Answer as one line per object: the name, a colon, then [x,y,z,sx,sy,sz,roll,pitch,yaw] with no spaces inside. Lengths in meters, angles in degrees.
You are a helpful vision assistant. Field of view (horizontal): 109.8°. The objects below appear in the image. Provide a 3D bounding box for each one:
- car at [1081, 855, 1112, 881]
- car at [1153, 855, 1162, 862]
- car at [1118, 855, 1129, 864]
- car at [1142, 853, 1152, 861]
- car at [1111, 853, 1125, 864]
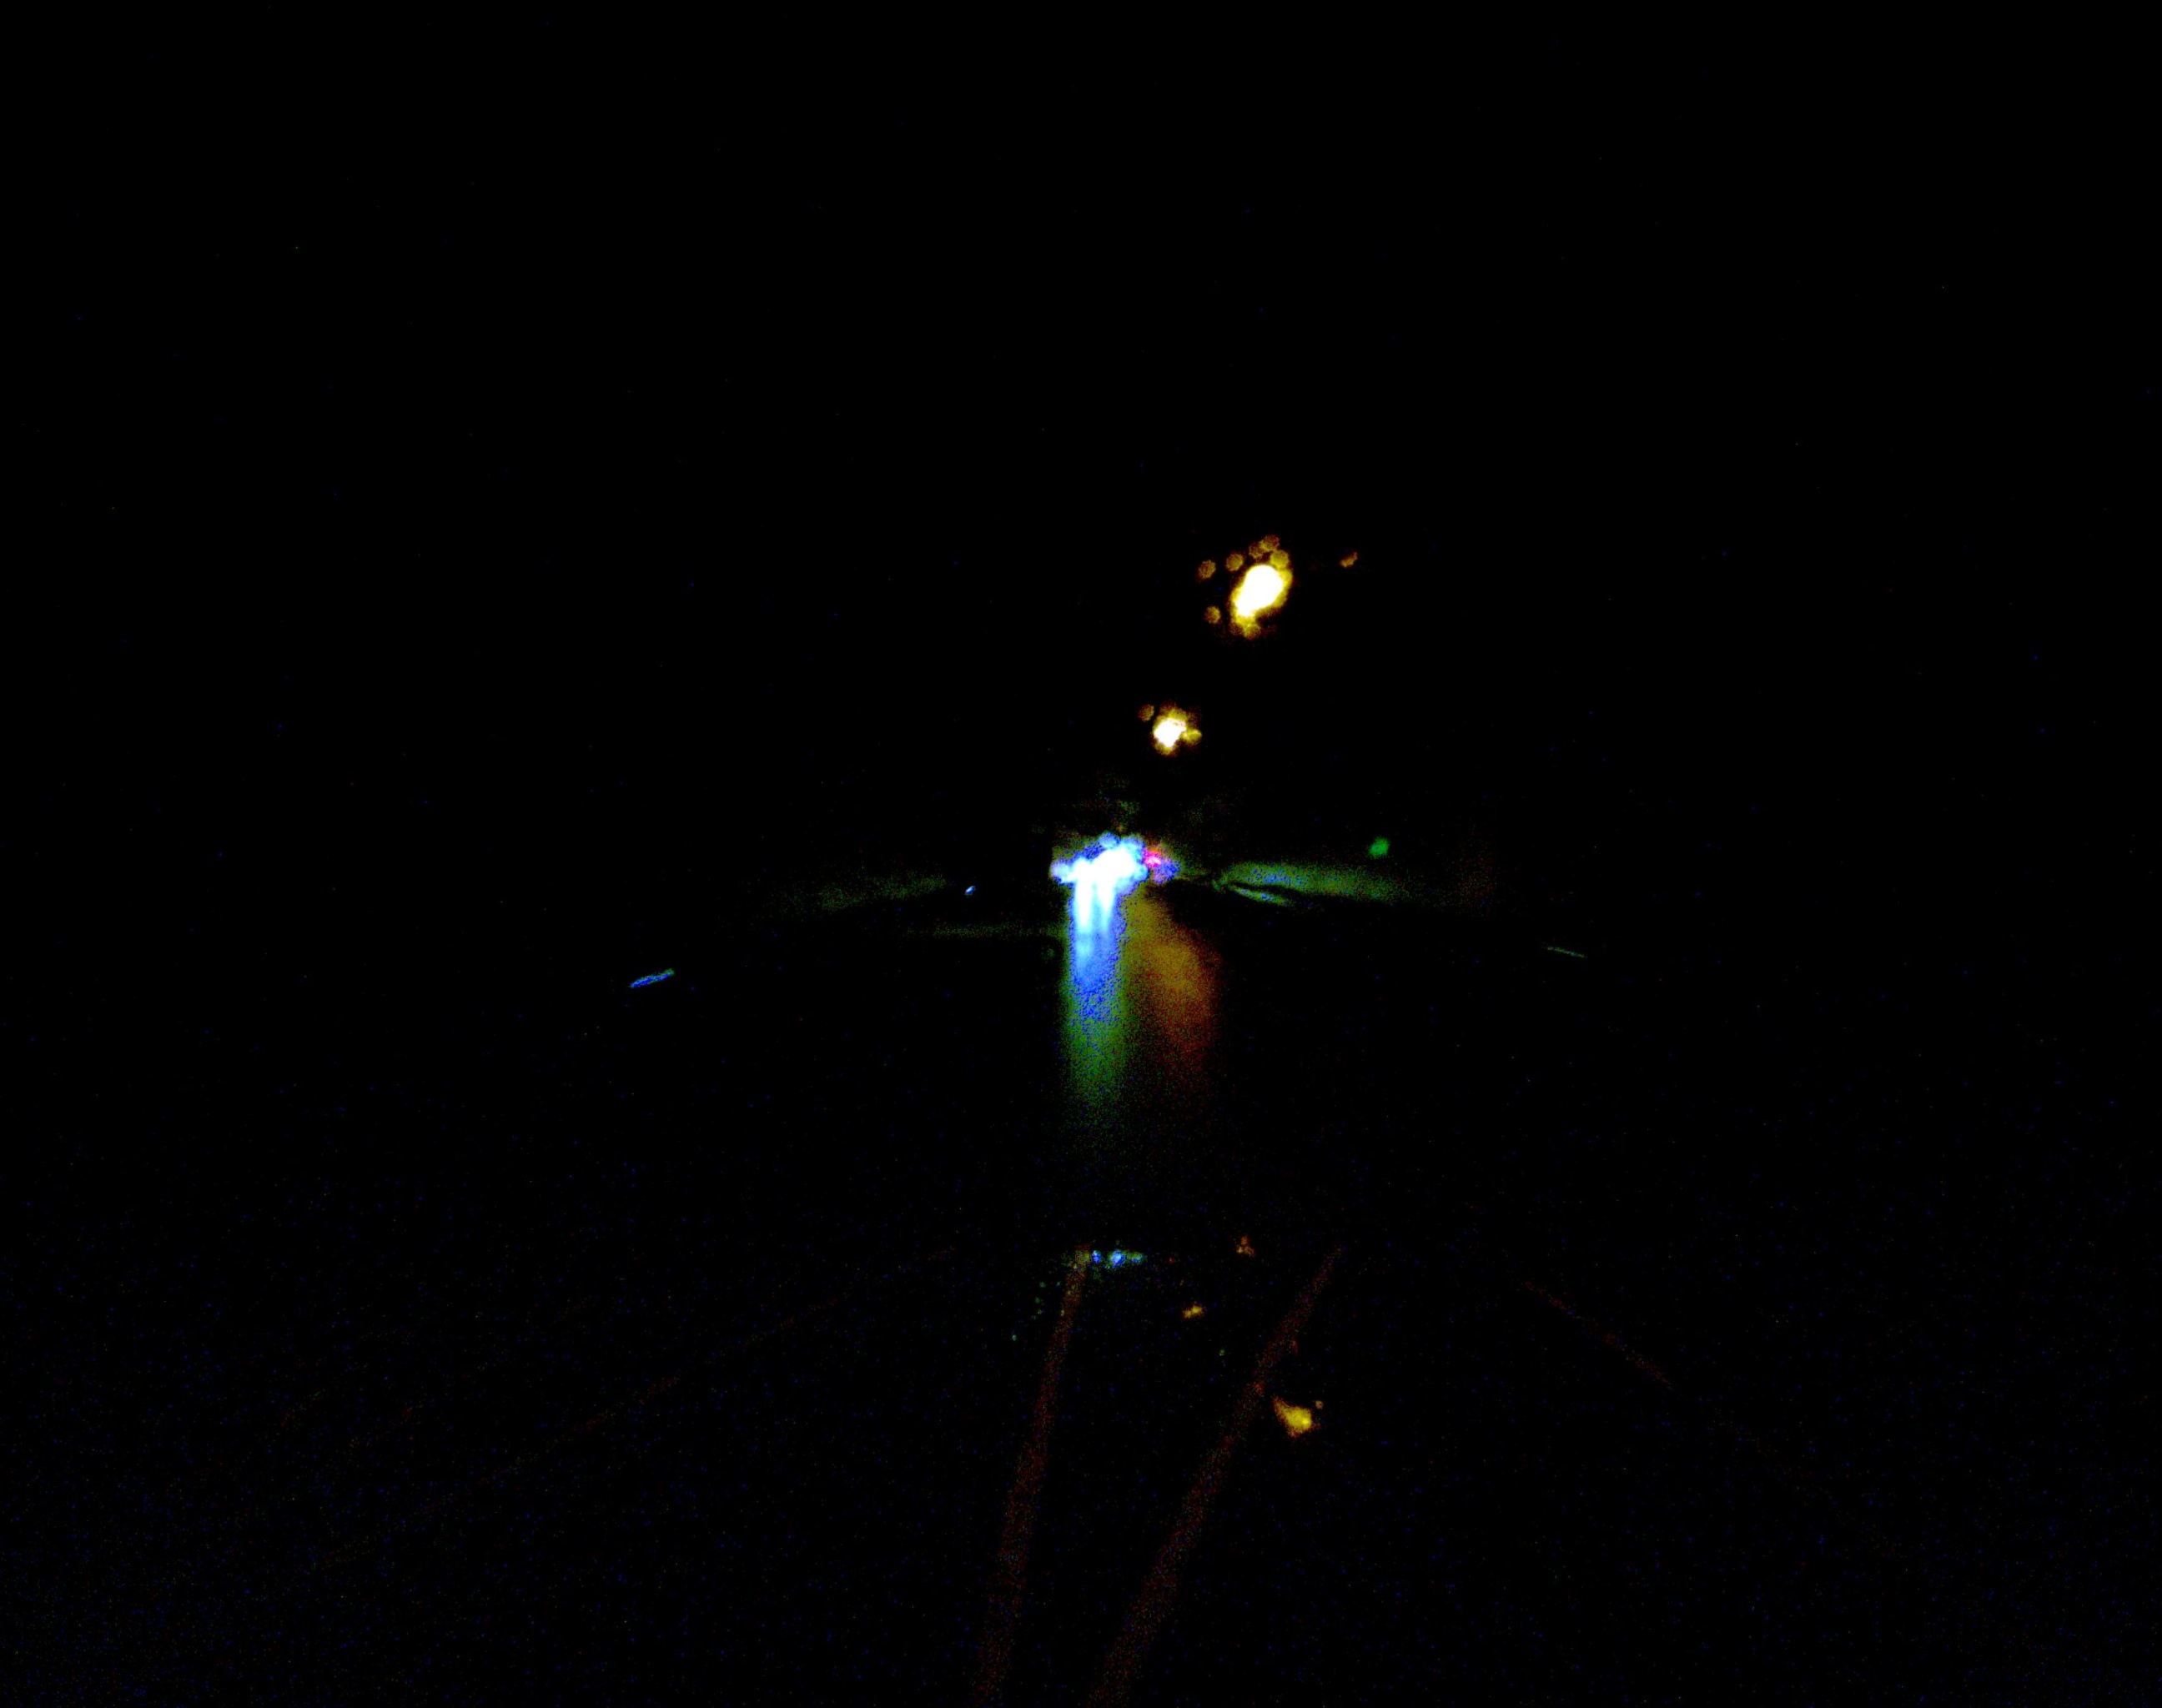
car: [1.049,0.887,51.065,1.998,1.576,4.000,-2,1,2]
car: [18.137,1.125,179.649,1.998,1.576,4.000,-2,1,4]
car: [7.769,0.982,138.170,1.998,1.576,4.000,-2,1,4]
car: [14.072,0.610,161.225,1.998,1.576,4.000,-2,1,4]
car: [5.802,0.743,118.449,1.998,1.576,4.000,-3,1,1]
